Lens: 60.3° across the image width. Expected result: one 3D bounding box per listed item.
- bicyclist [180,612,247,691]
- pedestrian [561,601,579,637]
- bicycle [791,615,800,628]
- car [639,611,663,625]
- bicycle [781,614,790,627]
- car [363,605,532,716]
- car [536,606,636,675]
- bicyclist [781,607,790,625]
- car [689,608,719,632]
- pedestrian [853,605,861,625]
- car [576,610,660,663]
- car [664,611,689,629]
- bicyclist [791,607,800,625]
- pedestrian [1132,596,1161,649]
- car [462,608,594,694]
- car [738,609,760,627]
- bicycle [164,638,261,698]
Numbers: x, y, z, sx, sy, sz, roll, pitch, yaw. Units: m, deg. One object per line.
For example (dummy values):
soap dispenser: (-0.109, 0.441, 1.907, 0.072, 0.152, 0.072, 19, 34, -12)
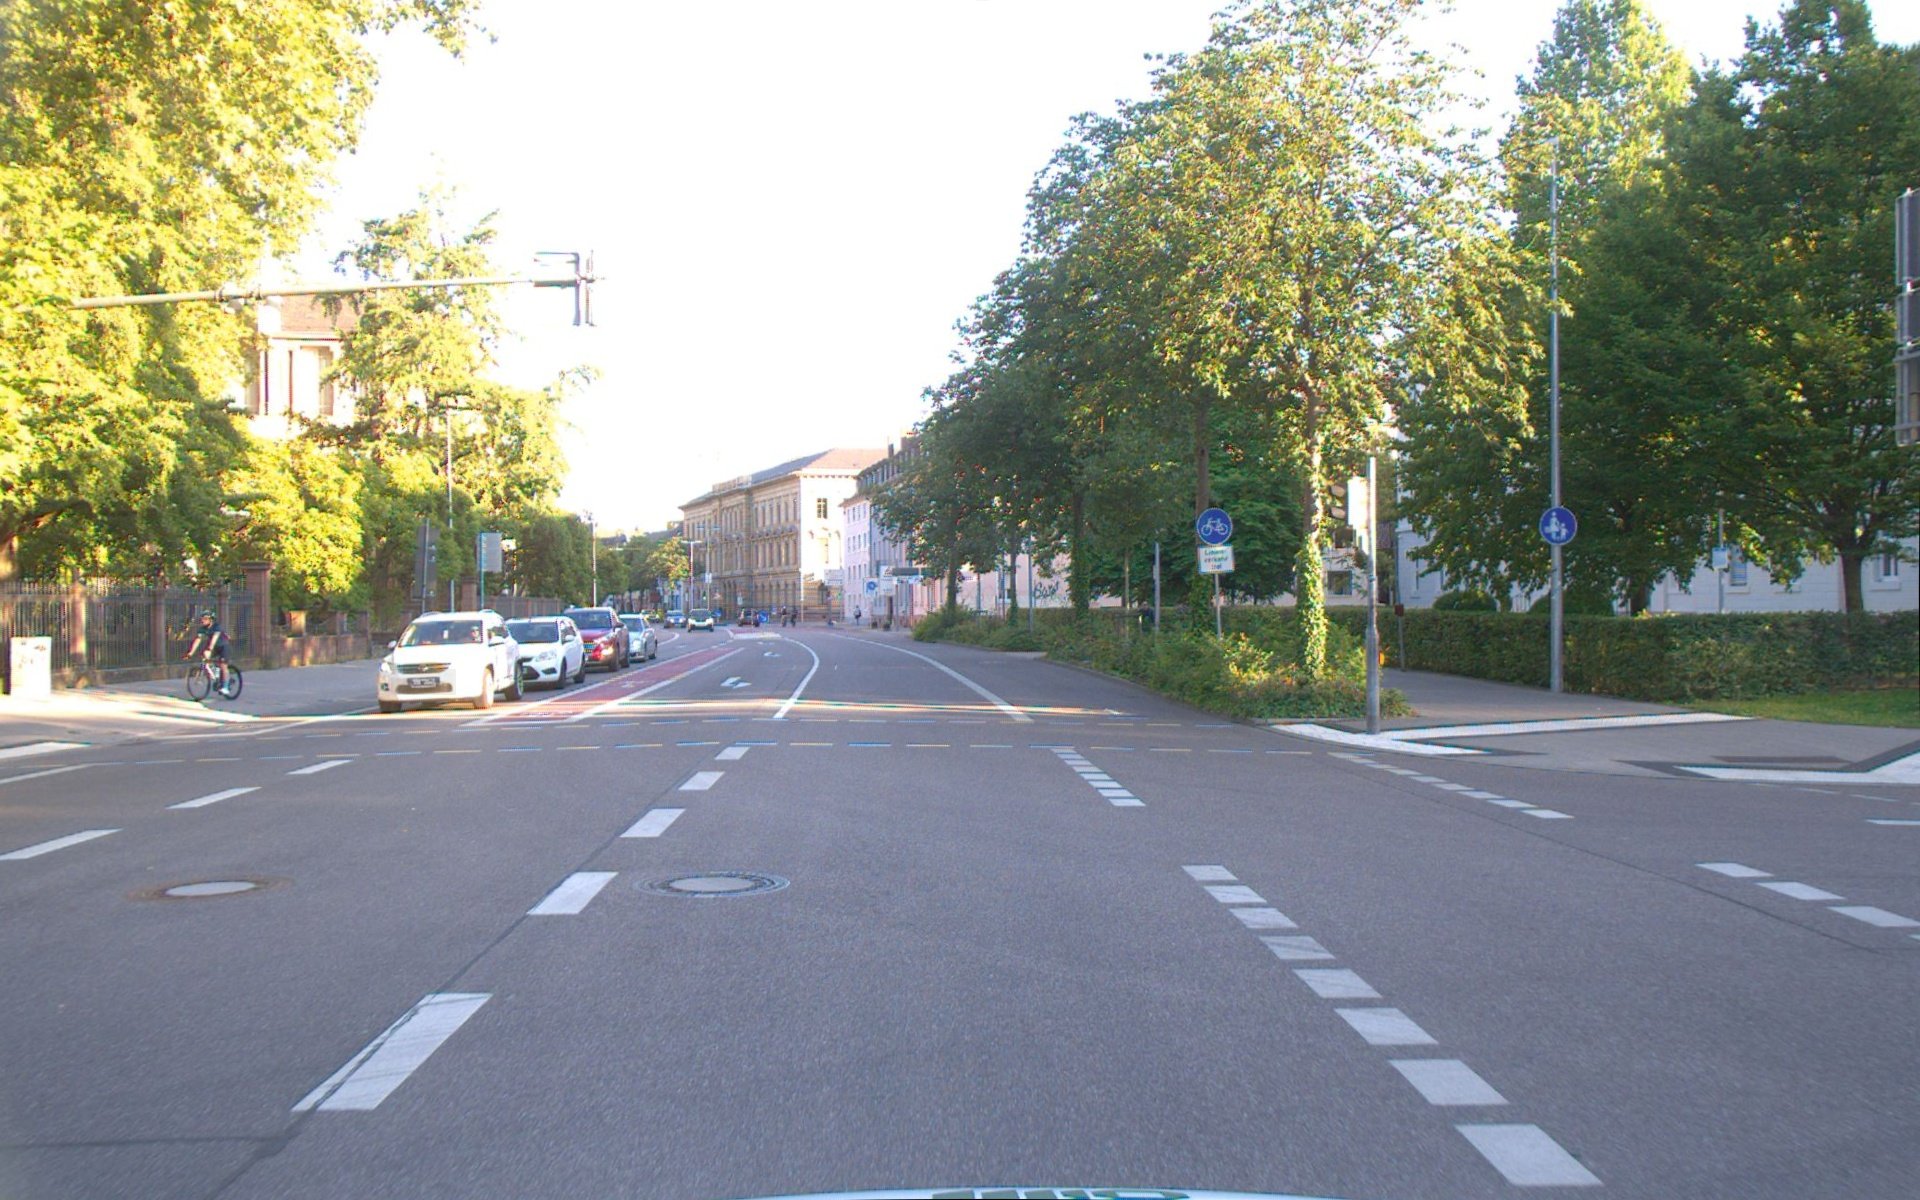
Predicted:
bicyclist: (-14.131, 0.966, 31.327, 0.838, 1.456, 0.943, -1, 0, -1)
pedestrian: (-18.264, 0.898, 77.467, 0.667, 1.651, 0.688, -1, 0, -1)
bicycle: (-13.775, 1.816, 138.531, 0.640, 1.033, 2.193, 2, -1, -9)
car: (-35.417, 2.061, 189.345, 1.965, 1.613, 3.974, 0, -1, -21)
bicycle: (-14.618, 1.692, 138.403, 0.640, 1.033, 2.193, 2, -1, -9)
car: (-8.965, 1.002, 29.307, 1.879, 1.725, 4.422, -3, 0, -5)
car: (-9.852, 1.024, 43.891, 1.879, 1.653, 4.634, -3, 0, -5)
bicyclist: (-14.600, 1.314, 138.377, 0.640, 1.471, 0.877, 2, -1, -9)
car: (-18.090, 1.387, 116.560, 1.816, 1.553, 3.987, -2, 0, -12)
pedestrian: (-9.246, 1.356, 148.567, 0.747, 1.786, 0.844, 0, -1, -4)
car: (-10.419, 1.087, 50.705, 1.879, 1.442, 4.765, -3, 0, -5)
car: (-24.498, 1.720, 143.031, 1.804, 1.464, 3.985, -2, 0, -14)
bicyclist: (-13.759, 1.322, 138.538, 0.640, 1.501, 0.939, 2, -1, -9)
pedestrian: (6.220, 0.751, 55.220, 0.756, 1.769, 0.805, -1, 0, -10)
car: (-9.144, 1.032, 35.380, 1.879, 1.611, 4.669, -3, 0, -5)
car: (-18.349, 1.592, 143.791, 1.832, 1.536, 3.993, 0, -1, -7)
bicycle: (-14.112, 1.262, 31.290, 0.838, 1.033, 2.197, -1, 0, -1)
